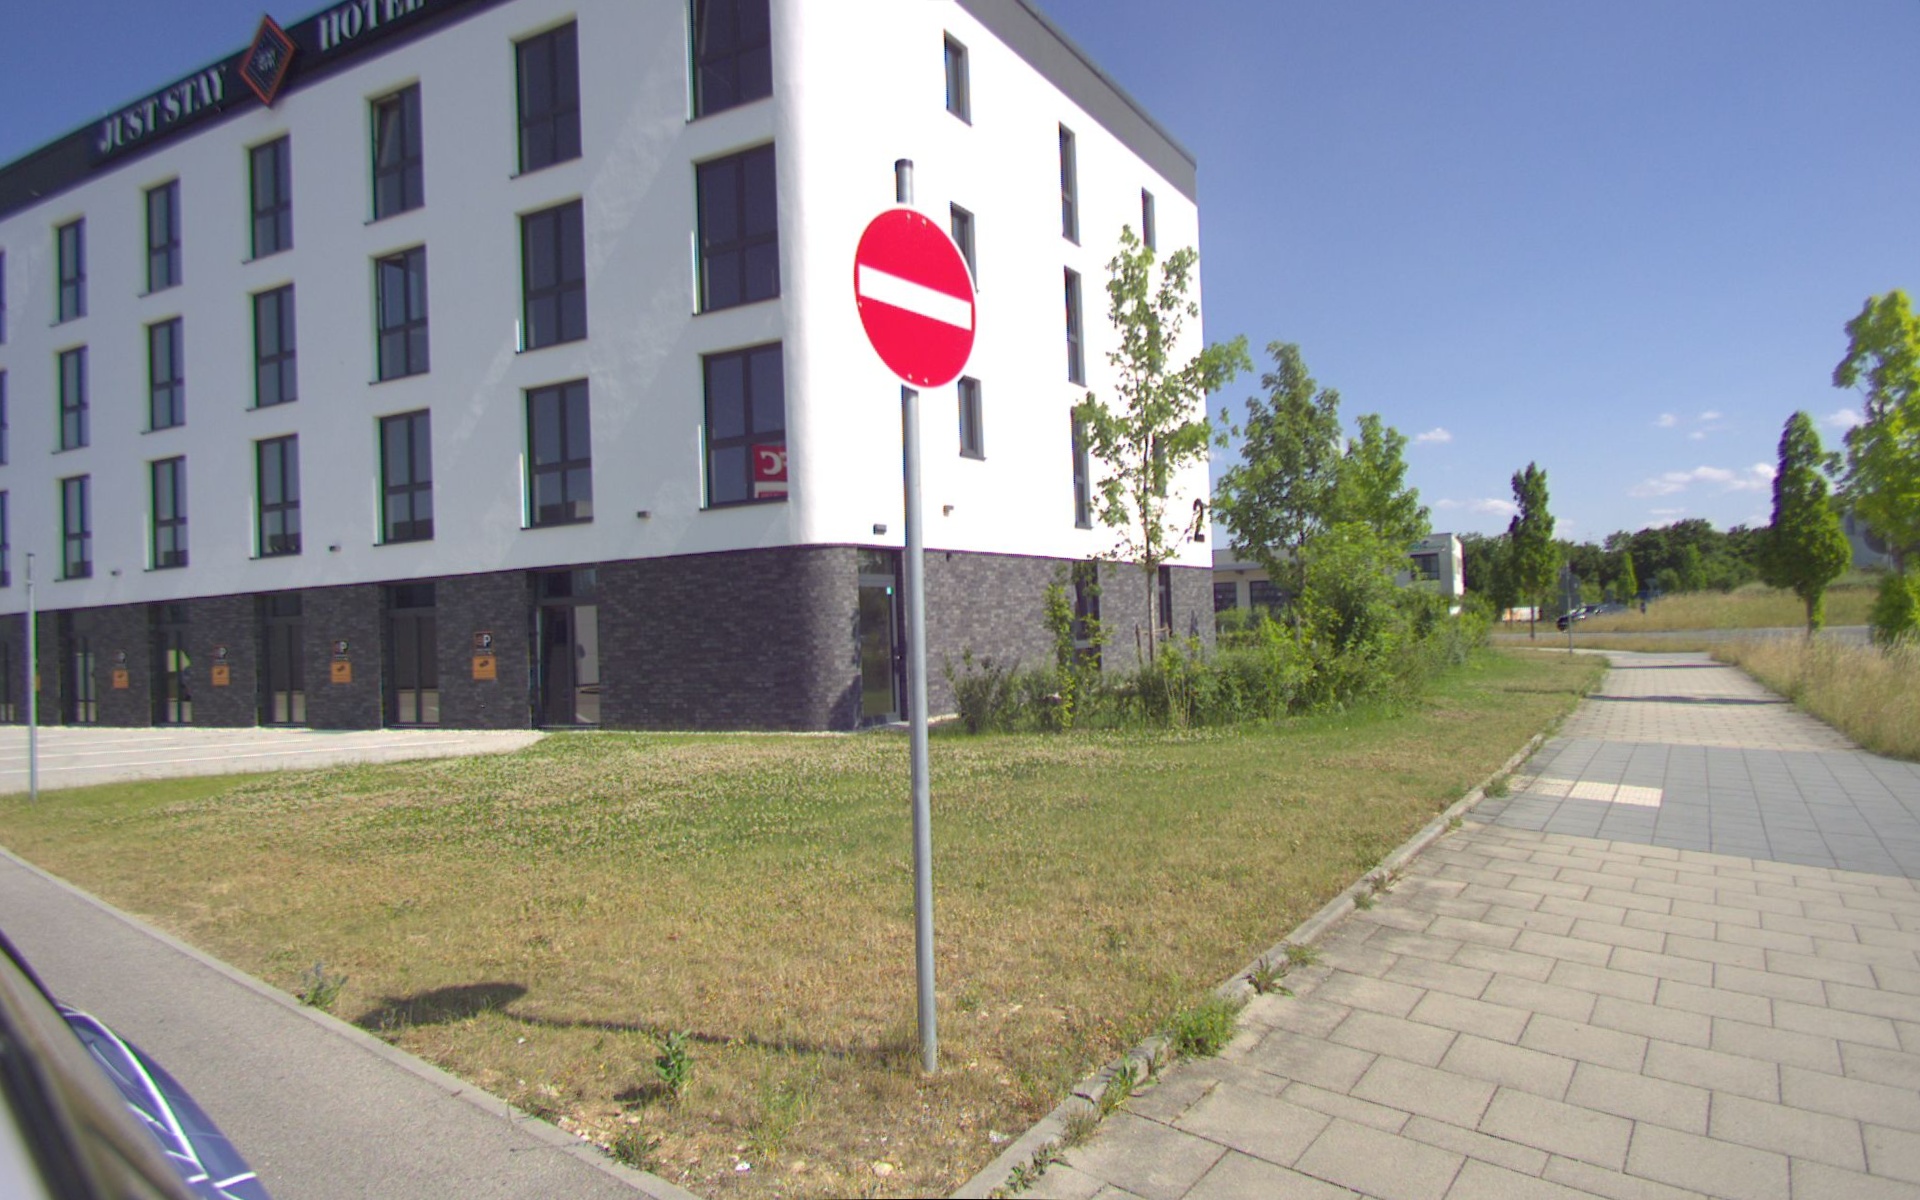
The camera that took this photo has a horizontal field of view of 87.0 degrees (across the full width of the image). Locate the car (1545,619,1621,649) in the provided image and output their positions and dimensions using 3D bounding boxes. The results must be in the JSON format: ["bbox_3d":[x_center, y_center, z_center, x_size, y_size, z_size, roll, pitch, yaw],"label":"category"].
[{"bbox_3d":[39.265,2.153,63.819,3.932,1.586,1.848,-3,-3,-17],"label":"car"}]

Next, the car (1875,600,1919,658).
[{"bbox_3d":[26.641,0.749,27.359,1.466,1.501,2.986,-5,-3,15],"label":"car"}]
